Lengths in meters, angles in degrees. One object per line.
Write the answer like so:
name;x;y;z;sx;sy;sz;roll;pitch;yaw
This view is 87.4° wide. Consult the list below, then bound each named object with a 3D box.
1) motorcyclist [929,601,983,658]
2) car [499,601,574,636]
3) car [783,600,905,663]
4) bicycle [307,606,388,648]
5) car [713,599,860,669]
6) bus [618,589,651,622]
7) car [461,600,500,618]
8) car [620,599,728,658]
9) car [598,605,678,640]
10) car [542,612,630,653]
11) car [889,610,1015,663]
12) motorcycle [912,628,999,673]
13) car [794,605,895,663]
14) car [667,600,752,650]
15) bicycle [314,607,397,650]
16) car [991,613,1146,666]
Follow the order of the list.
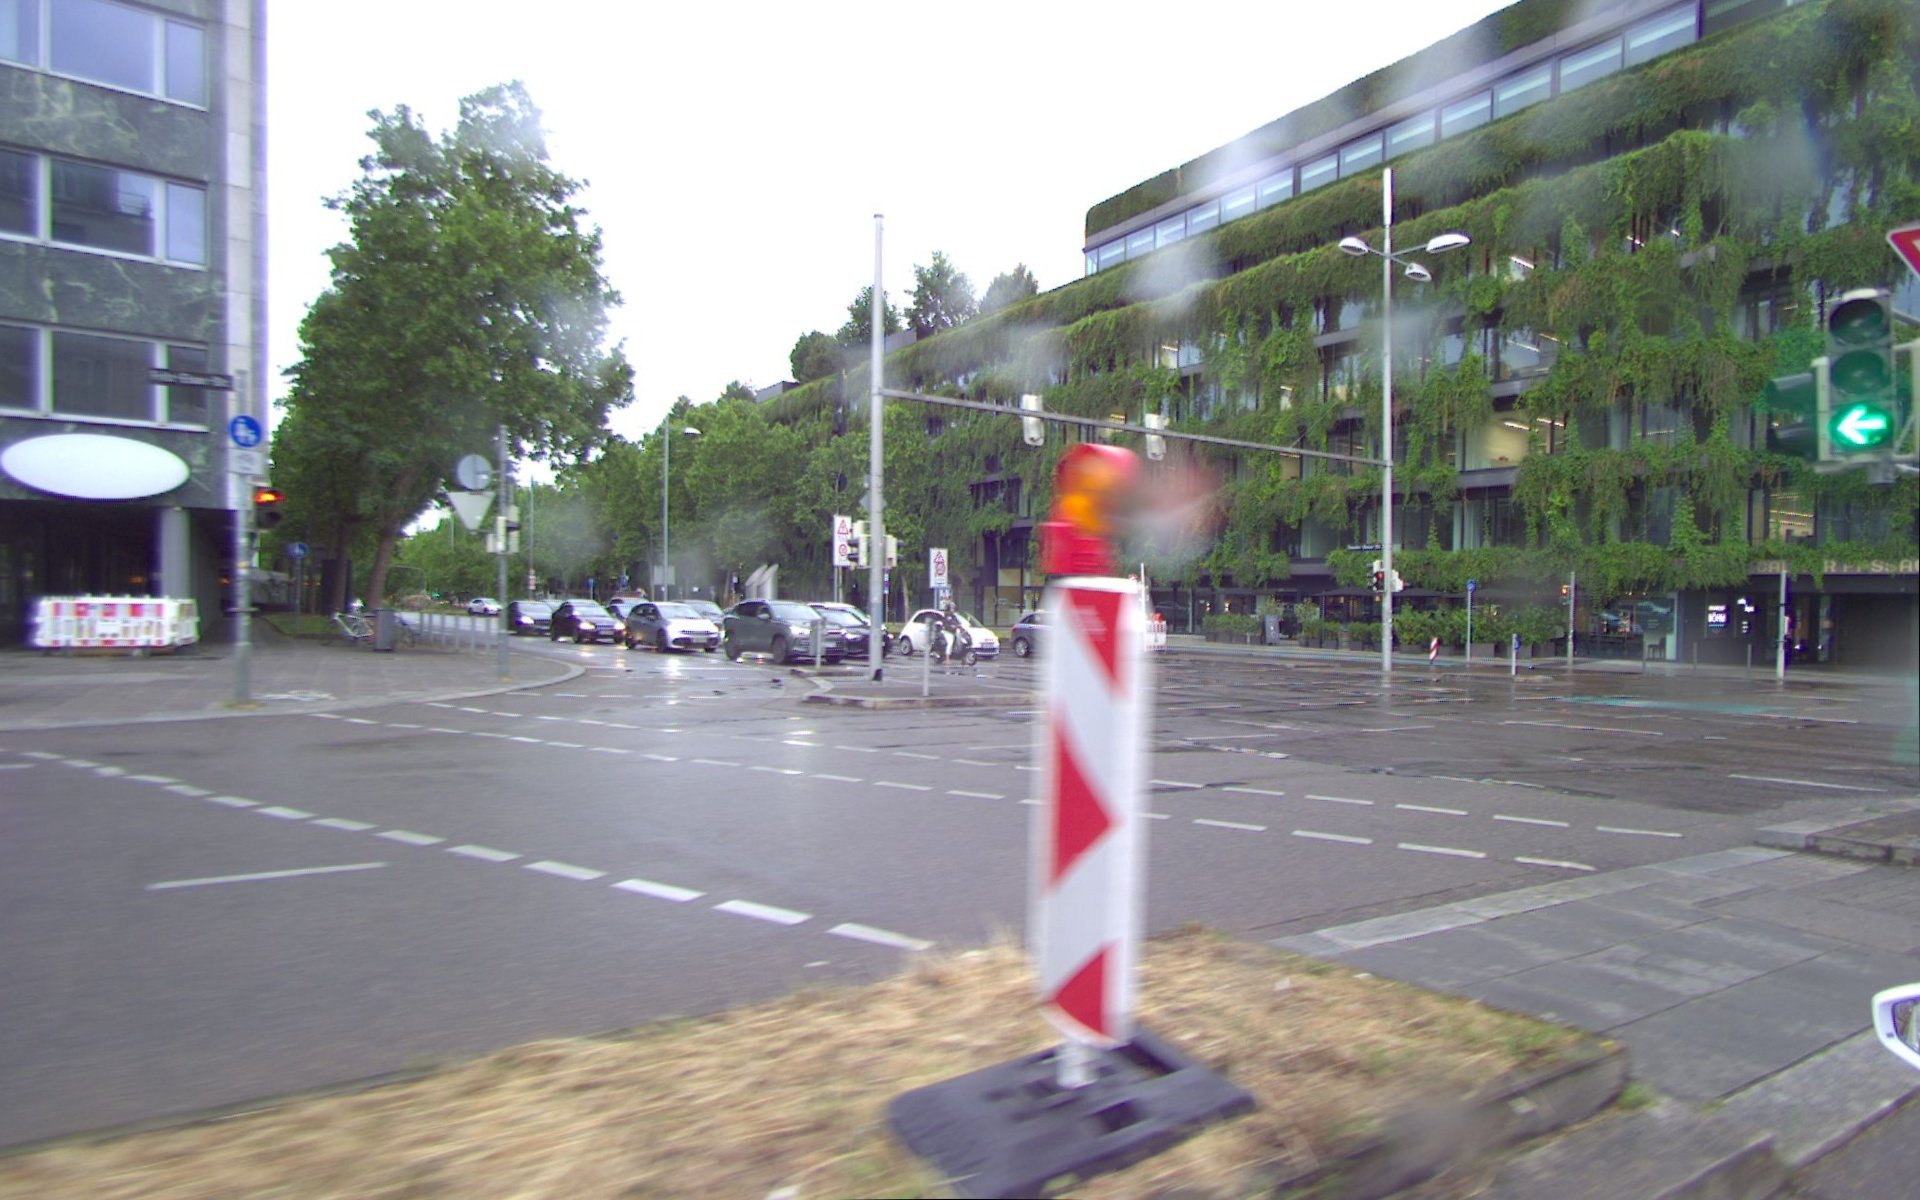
motorcyclist;-0.116;0.786;27.139;1.153;1.492;0.832;2;-1;40
car;-18.211;0.781;43.139;1.982;1.389;4.131;2;-1;-37
car;-3.587;0.921;30.654;1.981;1.773;3.958;2;-1;-37
bicycle;-16.163;0.728;26.513;1.766;1.066;0.581;2;-1;-35
car;-4.774;0.870;27.232;1.984;1.709;4.314;2;-1;-41
bus;-35.152;0.580;108.356;1.783;3.384;5.922;2;-1;-34
car;-43.267;0.780;90.623;1.919;1.508;4.849;2;-1;-41
car;-9.202;0.878;32.132;1.983;1.773;3.956;2;-1;-38
car;-13.852;0.950;43.122;1.982;1.389;4.131;2;-1;-37
car;-14.084;1.199;37.721;1.982;1.389;4.131;2;-1;-37
car;-0.313;1.106;31.555;1.981;1.494;3.958;2;-1;-37
motorcycle;-0.142;1.351;27.143;2.331;1.068;0.831;2;-1;41
car;-4.221;1.177;36.138;1.978;1.923;4.139;2;-1;-32
car;-9.472;0.907;37.767;1.841;1.791;4.139;2;-1;-32
bicycle;-15.485;0.741;25.735;1.766;1.066;0.581;2;-1;-35
car;3.433;1.225;32.497;4.842;1.508;1.922;0;-1;45
